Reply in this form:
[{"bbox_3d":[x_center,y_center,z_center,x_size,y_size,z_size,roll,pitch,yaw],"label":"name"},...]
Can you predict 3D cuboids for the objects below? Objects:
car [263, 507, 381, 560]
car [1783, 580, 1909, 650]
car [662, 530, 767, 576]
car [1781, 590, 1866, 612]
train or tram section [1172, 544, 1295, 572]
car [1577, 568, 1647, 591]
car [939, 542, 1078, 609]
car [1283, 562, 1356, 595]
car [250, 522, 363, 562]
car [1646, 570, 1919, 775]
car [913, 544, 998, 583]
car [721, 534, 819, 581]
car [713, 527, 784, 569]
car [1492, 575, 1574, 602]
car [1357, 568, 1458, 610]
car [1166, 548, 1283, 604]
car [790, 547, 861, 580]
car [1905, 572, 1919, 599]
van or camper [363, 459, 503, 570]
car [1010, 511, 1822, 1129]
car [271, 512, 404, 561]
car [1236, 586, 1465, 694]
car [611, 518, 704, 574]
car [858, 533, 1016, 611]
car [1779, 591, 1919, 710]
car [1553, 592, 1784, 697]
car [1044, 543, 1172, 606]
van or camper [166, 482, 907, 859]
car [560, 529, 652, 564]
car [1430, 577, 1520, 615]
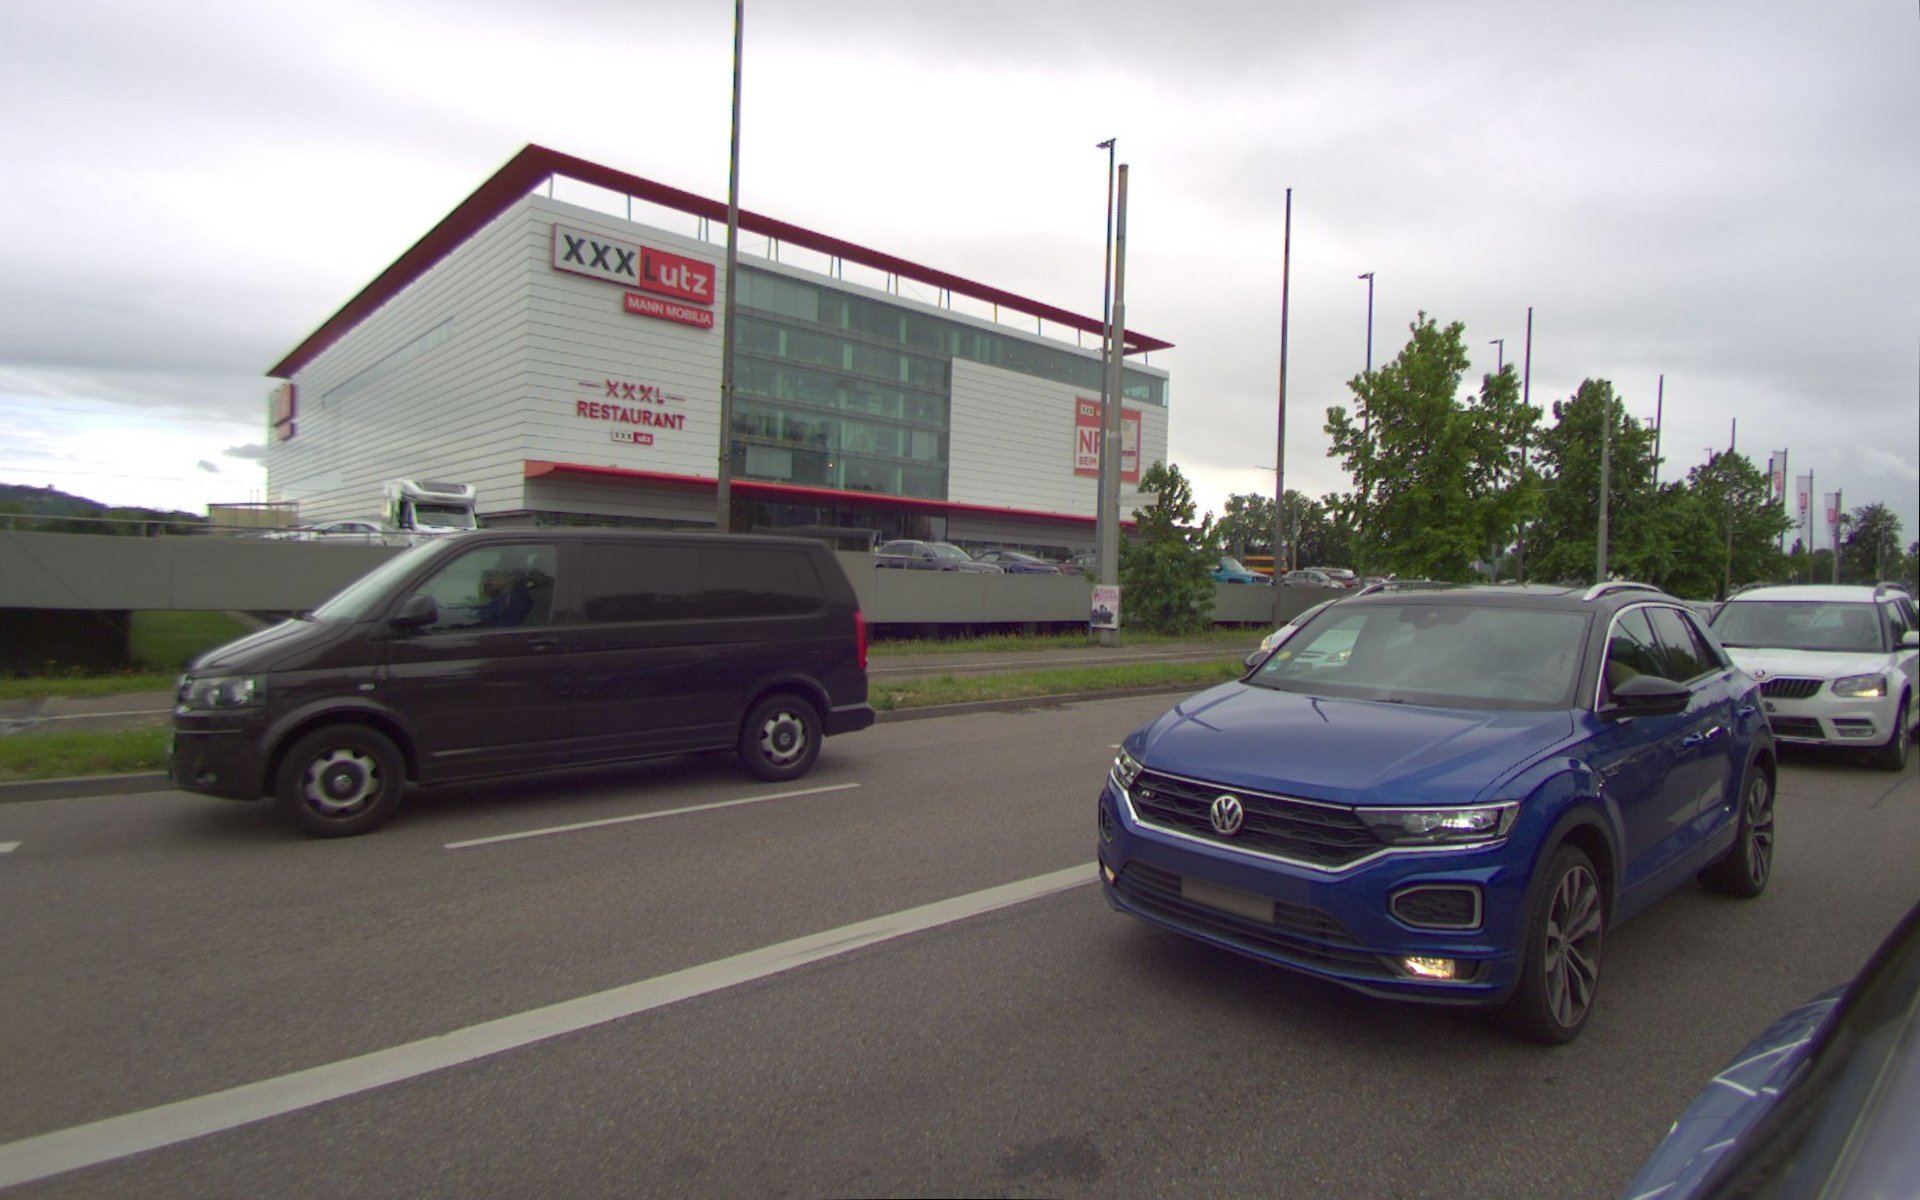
[{"bbox_3d":[-26.487,-2.710,42.053,3.929,2.039,1.998,-1,1,-40],"label":"car"},{"bbox_3d":[22.753,0.324,25.941,4.297,1.645,1.798,-1,1,-40],"label":"car"},{"bbox_3d":[-8.573,-1.580,35.169,1.839,1.455,3.984,-1,1,-44],"label":"car"},{"bbox_3d":[58.896,0.042,69.060,1.771,1.433,4.212,-1,1,-41],"label":"car"},{"bbox_3d":[49.397,-7.513,184.663,3.573,4.898,23.232,-1,2,-43],"label":"train or tram section"},{"bbox_3d":[47.678,-1.476,74.078,1.765,1.585,3.994,-1,1,-40],"label":"car"},{"bbox_3d":[1.413,-0.712,30.730,1.967,1.872,3.991,-1,1,-43],"label":"car"},{"bbox_3d":[23.059,-1.356,65.033,1.966,2.039,3.992,-1,1,-42],"label":"car"},{"bbox_3d":[-30.018,-2.619,46.537,4.186,1.697,1.774,-1,1,-41],"label":"car"},{"bbox_3d":[8.653,0.545,10.185,4.297,1.645,1.798,-1,1,-40],"label":"car"},{"bbox_3d":[-0.266,-1.736,49.339,1.967,1.761,3.991,-1,1,-43],"label":"car"},{"bbox_3d":[-8.687,-1.930,46.570,4.102,2.039,2.000,0,0,1],"label":"car"},{"bbox_3d":[-11.205,-2.699,53.496,1.966,2.039,3.992,-1,1,-42],"label":"car"},{"bbox_3d":[35.200,-0.707,62.235,1.765,1.585,3.994,-1,1,-40],"label":"car"},{"bbox_3d":[22.813,-0.555,51.732,1.966,2.039,4.317,-1,1,-42],"label":"car"},{"bbox_3d":[10.221,-0.911,39.273,1.966,2.039,3.992,-1,1,-42],"label":"car"},{"bbox_3d":[-7.533,-2.005,56.433,1.967,1.761,3.991,-1,1,-43],"label":"car"},{"bbox_3d":[82.921,-1.186,87.113,3.933,2.270,1.996,0,1,-44],"label":"car"},{"bbox_3d":[-17.902,-2.686,34.127,2.667,3.175,7.226,-1,1,-40],"label":"van or camper"},{"bbox_3d":[2.419,0.550,4.777,4.256,1.642,1.845,-1,1,-40],"label":"car"},{"bbox_3d":[-24.161,-2.419,39.340,4.186,1.697,1.774,-1,1,-41],"label":"car"},{"bbox_3d":[5.944,0.503,15.205,3.860,1.389,1.691,-1,1,-43],"label":"car"},{"bbox_3d":[-11.557,-1.991,38.572,1.839,1.972,3.859,-1,1,-44],"label":"car"},{"bbox_3d":[-0.730,-0.759,28.719,1.967,2.039,4.522,-1,1,-43],"label":"car"},{"bbox_3d":[13.082,0.605,14.182,4.145,1.433,1.800,-1,1,-41],"label":"car"},{"bbox_3d":[11.323,0.647,16.031,4.790,1.429,1.815,1,-1,-40],"label":"car"},{"bbox_3d":[5.002,-0.840,34.547,1.966,2.039,3.992,-1,1,-42],"label":"car"},{"bbox_3d":[-3.021,0.341,7.824,4.853,2.039,2.163,-1,1,-38],"label":"van or camper"},{"bbox_3d":[-18.560,-2.762,53.125,4.186,1.697,1.774,-1,1,-41],"label":"car"},{"bbox_3d":[28.223,-0.236,55.511,1.965,2.039,3.994,-1,1,-41],"label":"car"}]
